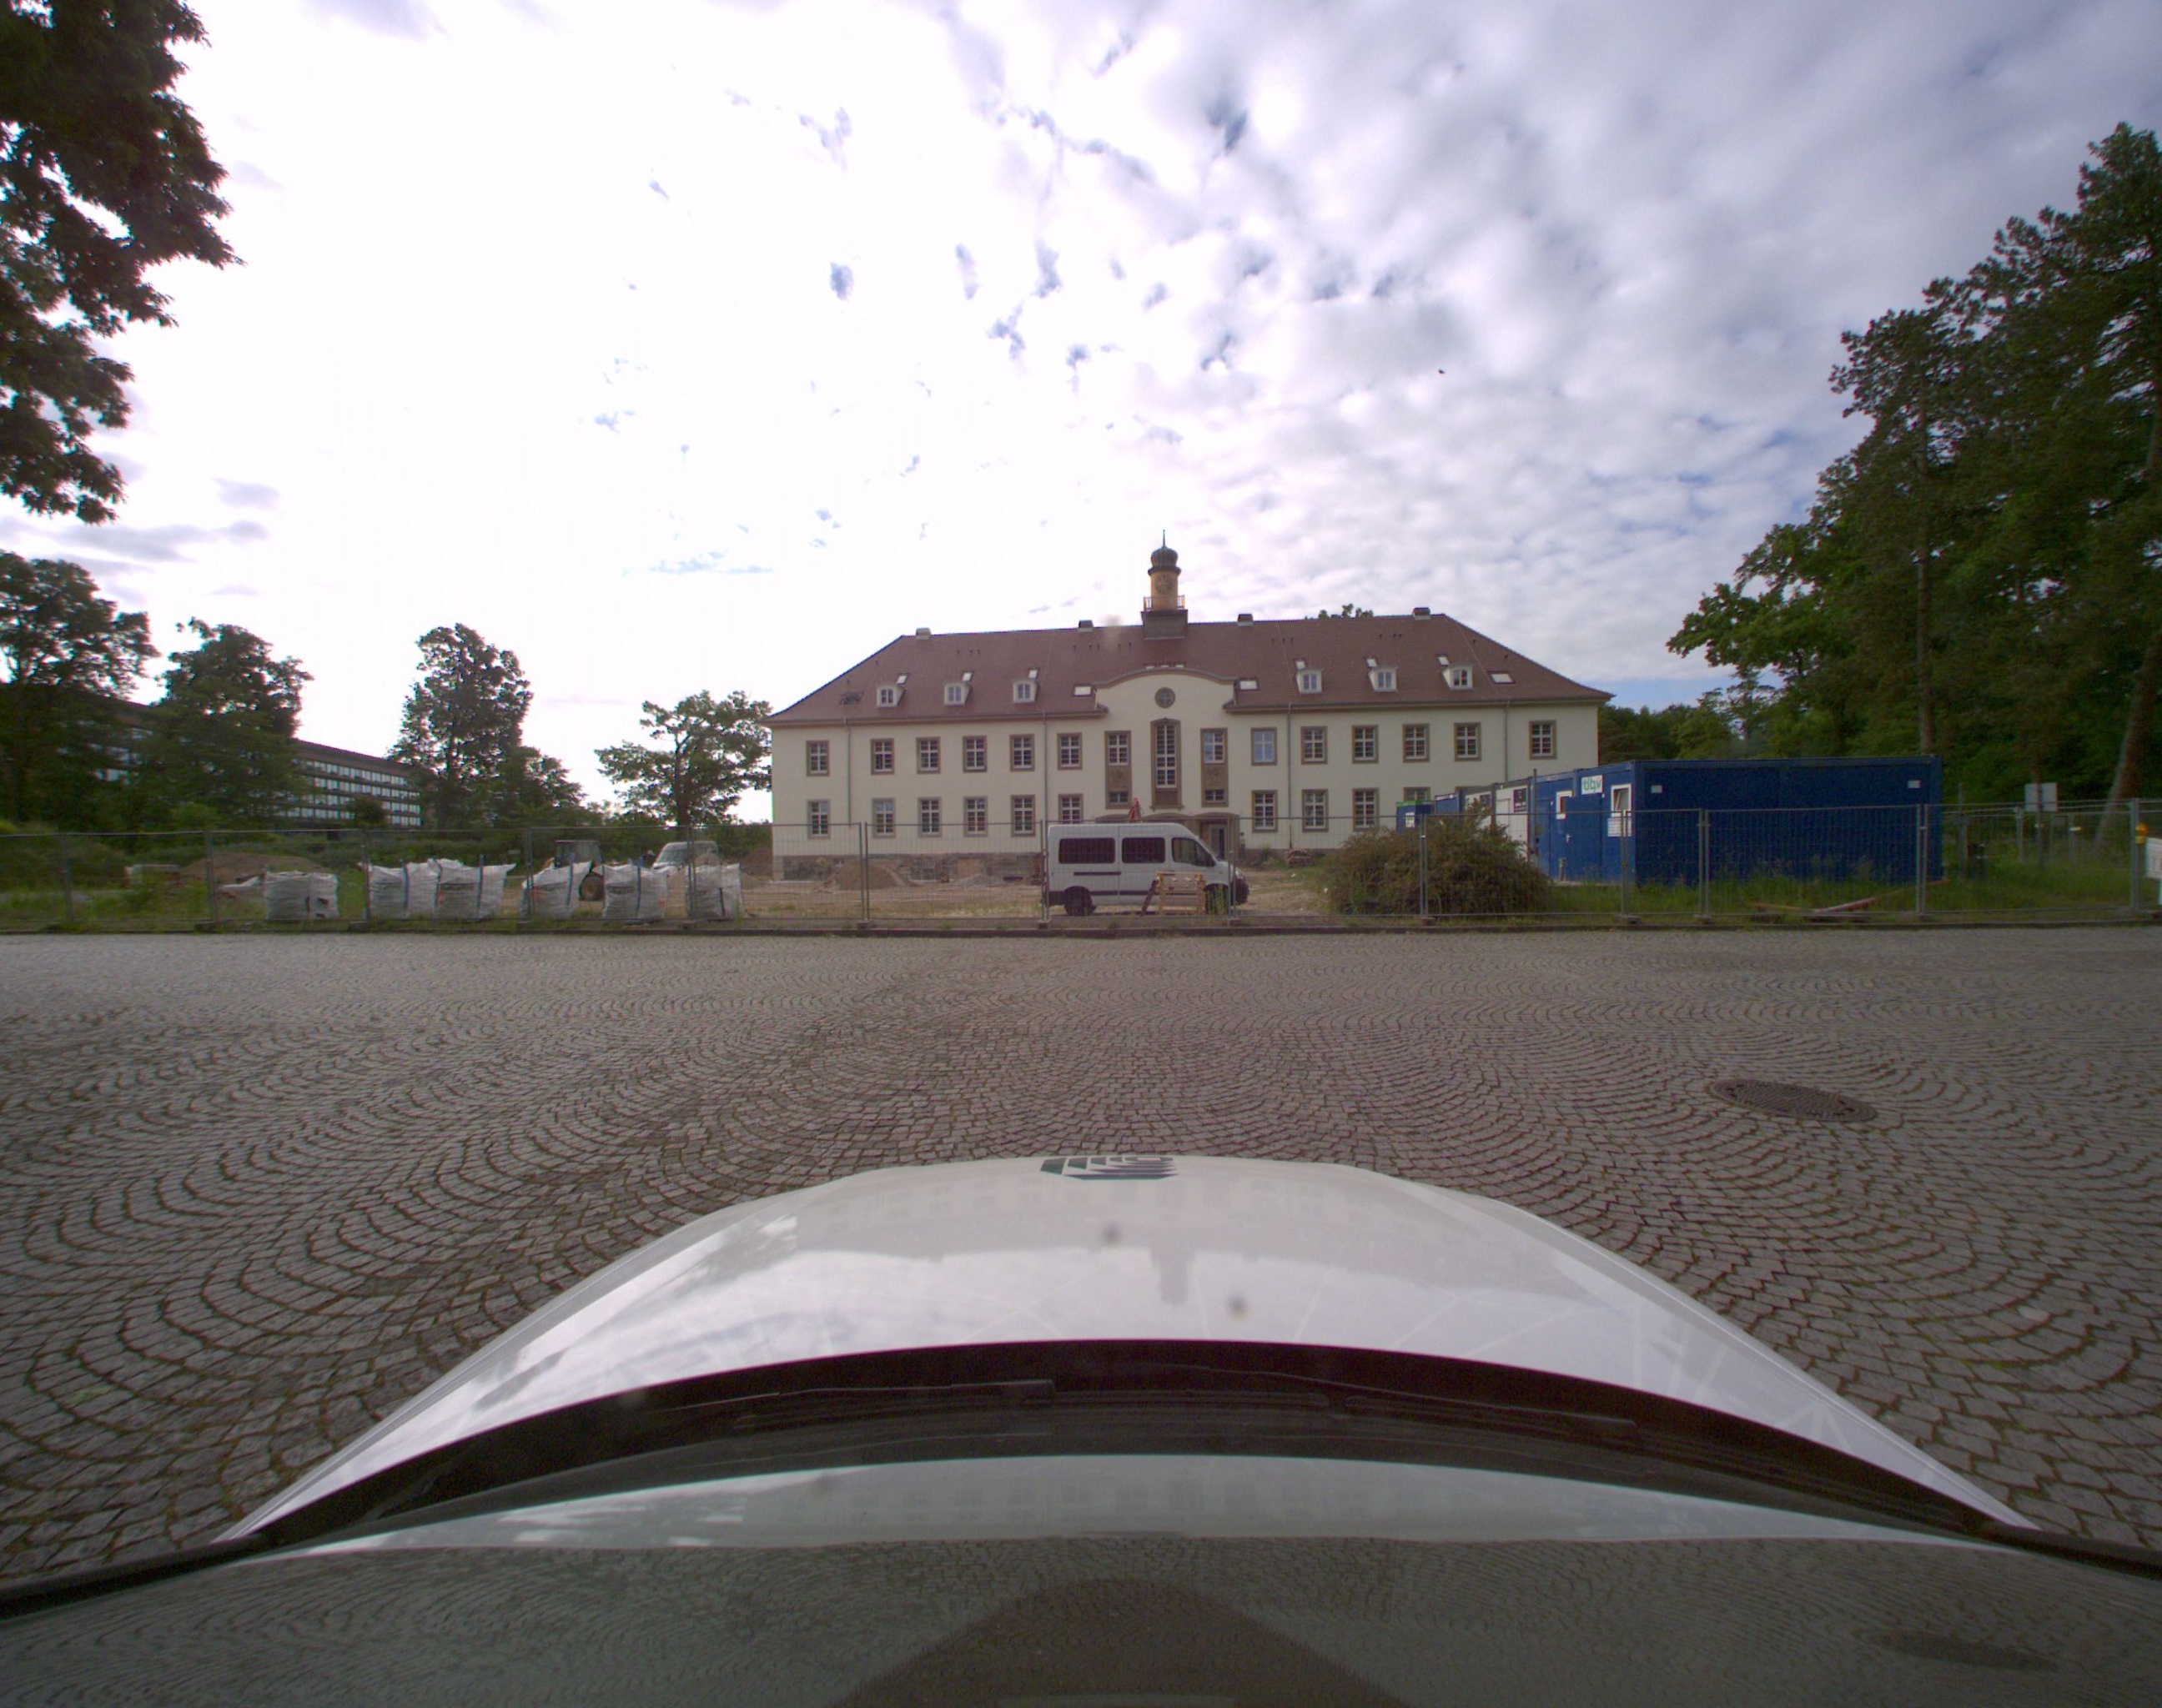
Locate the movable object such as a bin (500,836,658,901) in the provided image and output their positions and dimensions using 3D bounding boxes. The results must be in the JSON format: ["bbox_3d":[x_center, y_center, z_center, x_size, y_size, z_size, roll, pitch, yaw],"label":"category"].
[{"bbox_3d":[-20.698,0.584,33.700,5.305,2.556,2.003,-1,0,4],"label":"movable object such as a bin"}]

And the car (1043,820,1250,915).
[{"bbox_3d":[1.753,0.351,21.650,5.234,2.344,1.914,-1,0,7],"label":"car"}]

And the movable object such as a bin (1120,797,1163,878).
[{"bbox_3d":[2.956,-0.802,40.869,1.985,3.771,5.321,-1,0,3],"label":"movable object such as a bin"}]

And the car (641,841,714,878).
[{"bbox_3d":[-25.105,0.296,50.886,2.061,2.150,4.898,-1,0,0],"label":"car"}]
